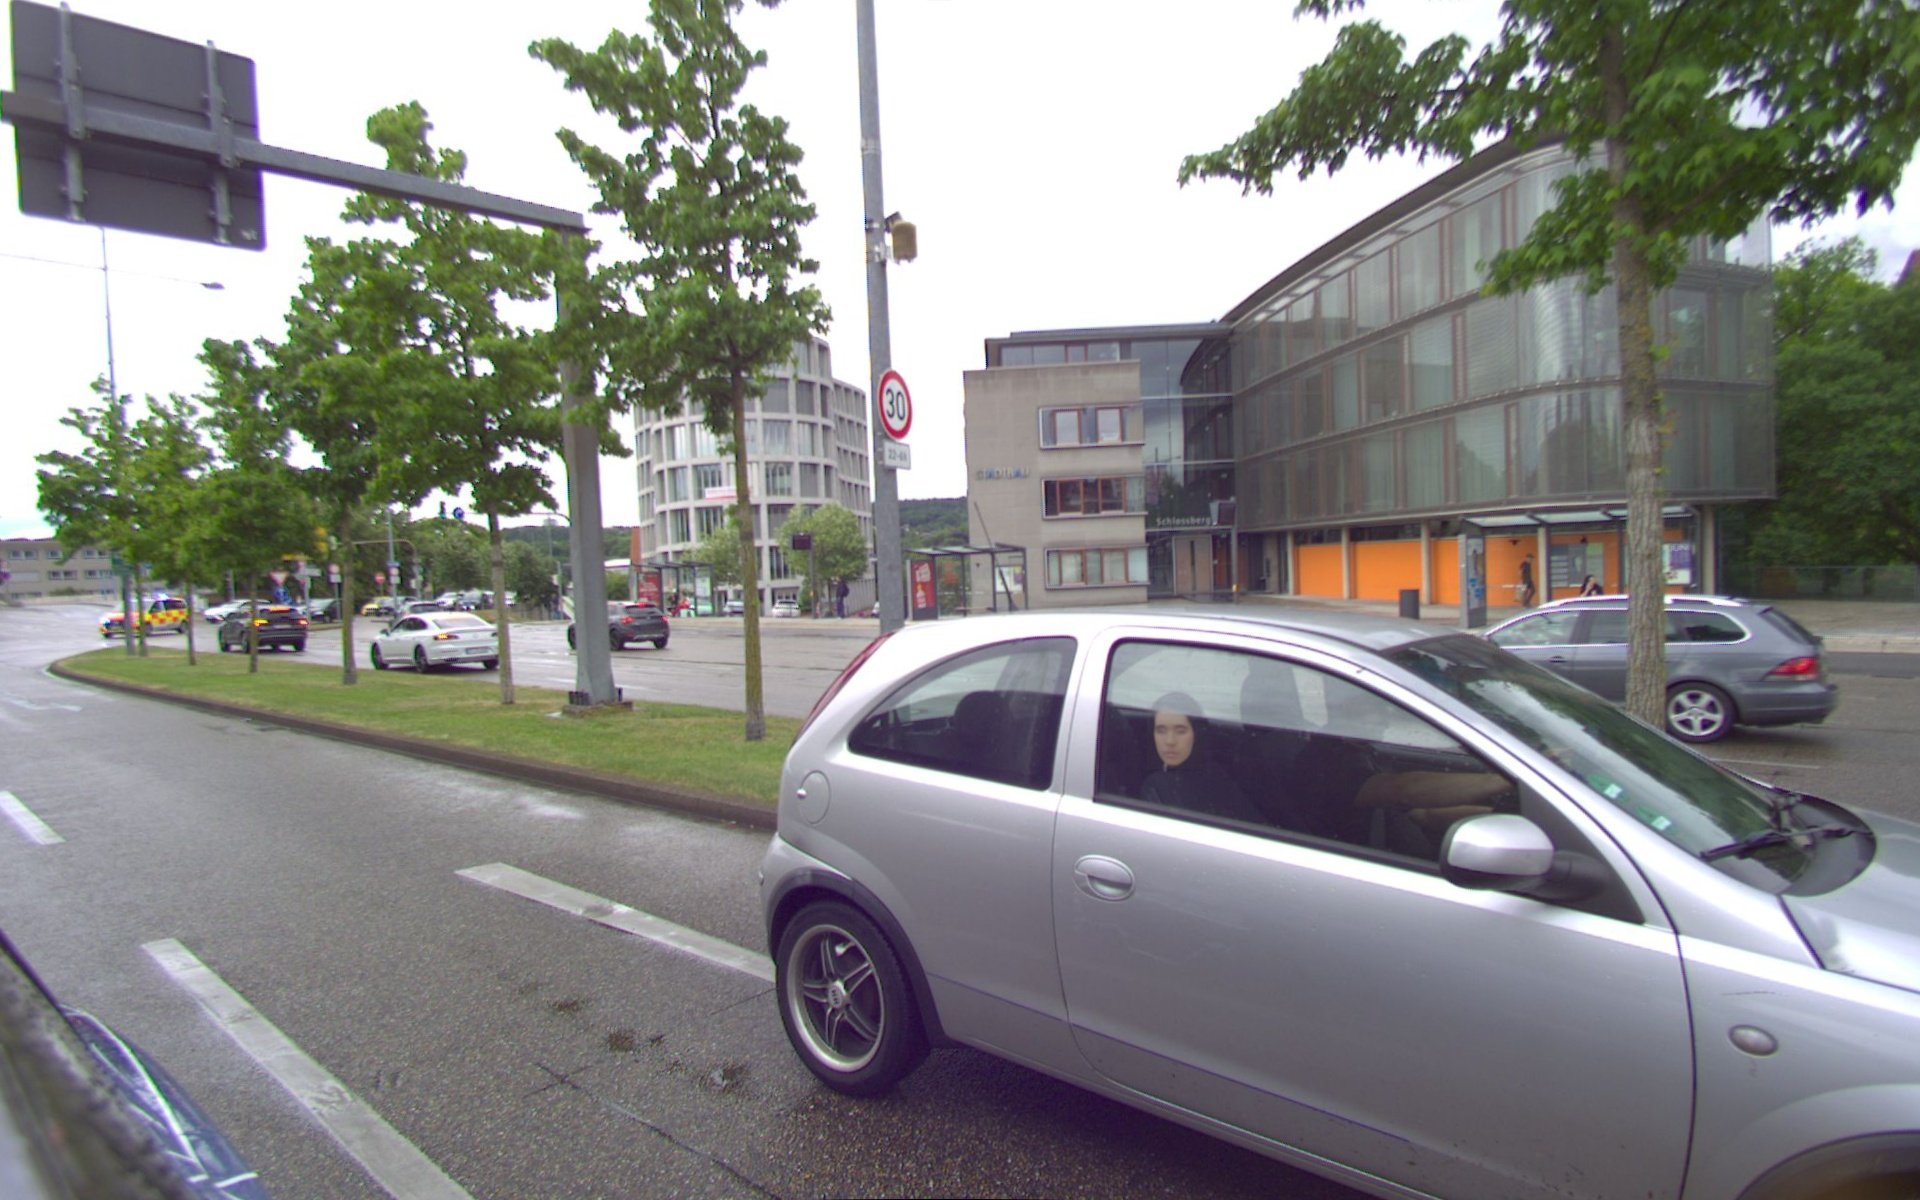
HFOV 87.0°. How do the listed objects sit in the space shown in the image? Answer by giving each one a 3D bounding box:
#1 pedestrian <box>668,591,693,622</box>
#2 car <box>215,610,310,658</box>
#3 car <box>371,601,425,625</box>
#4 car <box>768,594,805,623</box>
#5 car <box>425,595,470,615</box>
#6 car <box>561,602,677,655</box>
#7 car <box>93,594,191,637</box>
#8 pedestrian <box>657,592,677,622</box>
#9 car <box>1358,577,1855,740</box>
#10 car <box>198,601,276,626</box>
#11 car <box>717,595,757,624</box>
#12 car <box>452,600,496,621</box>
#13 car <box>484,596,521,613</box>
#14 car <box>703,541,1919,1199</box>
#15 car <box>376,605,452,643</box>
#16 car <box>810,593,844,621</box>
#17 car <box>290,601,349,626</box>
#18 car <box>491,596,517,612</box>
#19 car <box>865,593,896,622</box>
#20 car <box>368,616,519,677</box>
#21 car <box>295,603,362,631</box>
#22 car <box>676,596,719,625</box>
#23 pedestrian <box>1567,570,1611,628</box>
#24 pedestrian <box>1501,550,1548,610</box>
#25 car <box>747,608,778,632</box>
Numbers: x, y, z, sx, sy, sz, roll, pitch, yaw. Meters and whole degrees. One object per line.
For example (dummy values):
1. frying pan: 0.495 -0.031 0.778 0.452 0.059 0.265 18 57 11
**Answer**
1. pedestrian: -13.750 0.326 49.826 0.969 1.501 0.735 -1 0 -39
2. car: -24.815 1.164 35.964 4.166 1.566 1.983 -1 0 44
3. car: -41.653 0.911 75.091 1.849 1.715 4.160 -1 0 -3
4. car: -10.795 0.527 63.098 1.849 1.714 4.161 -1 0 -4
5. car: -43.966 0.455 86.937 1.849 1.646 4.303 -1 0 -2
6. car: -10.904 0.854 32.225 4.003 1.566 1.859 -1 0 44
7. car: -41.554 0.751 51.565 1.966 2.029 5.076 -1 0 -15
8. pedestrian: -14.620 0.336 50.465 0.722 1.501 0.735 0 0 -41
9. car: 7.009 0.545 11.339 4.453 1.477 1.676 -1 0 44
10. car: -48.488 0.893 67.969 1.797 1.571 4.027 -1 0 17
11. car: -13.802 0.577 62.889 1.849 1.715 4.161 -1 0 -4
12. car: -40.158 0.859 83.725 1.849 1.646 4.160 -1 0 -3
13. car: -44.157 0.412 97.752 1.849 1.646 4.159 -1 0 -2
14. car: 1.149 0.660 2.629 3.717 1.477 1.677 -1 0 40
15. car: -24.125 1.028 44.678 4.003 1.566 1.859 0 0 44
16. car: -8.320 0.425 63.513 1.849 1.715 4.161 -1 0 -4
17. car: -46.805 0.972 74.023 1.849 1.715 4.160 -1 0 -3
18. car: -48.498 0.390 107.756 1.845 1.646 4.169 -1 0 -14
19. car: -4.975 0.472 63.444 1.849 1.715 4.161 -1 0 -4
20. car: -12.907 1.090 25.206 4.163 1.363 1.984 -1 0 42
21. car: -40.138 1.064 64.433 1.849 1.715 4.161 -1 0 -4
22. car: -16.280 0.606 62.828 1.849 1.715 4.161 -1 0 -4
23. pedestrian: 14.637 -0.025 23.556 0.659 1.309 0.720 0 0 -44
24. pedestrian: 17.557 -0.615 31.482 0.773 1.768 0.828 -7 2 -22
25. car: -15.045 1.518 77.197 1.849 1.715 4.161 -1 0 -4
